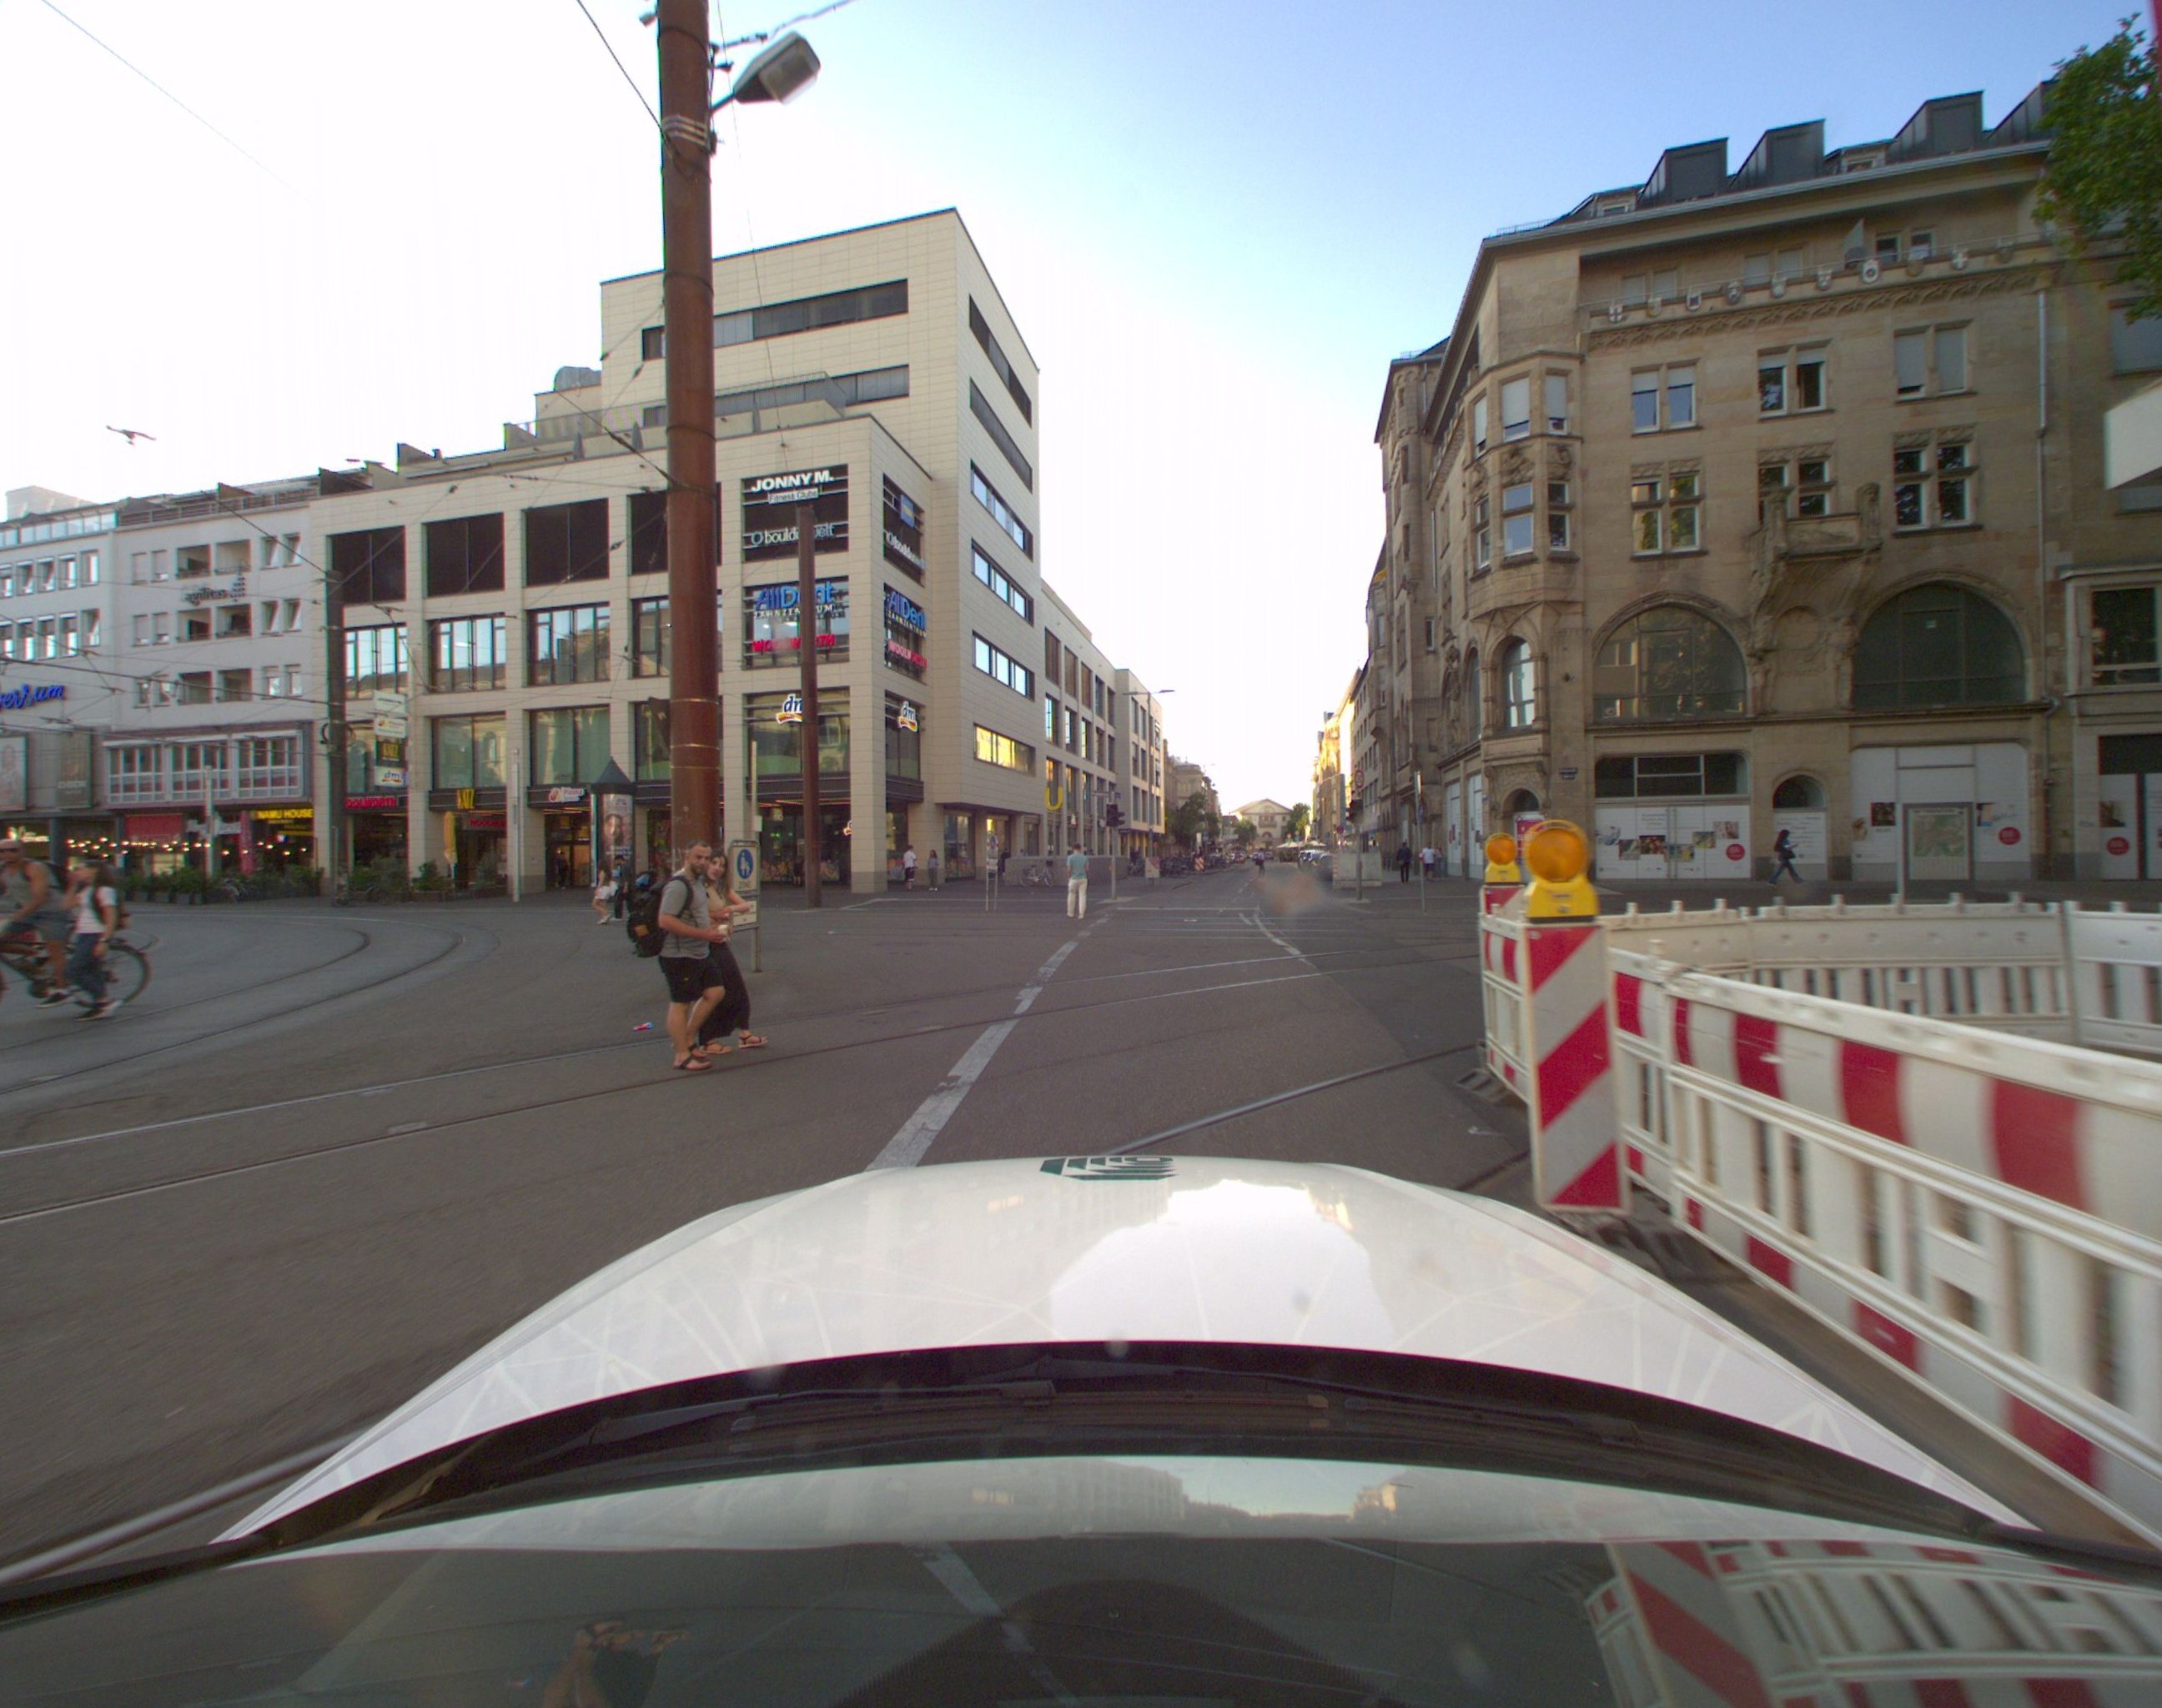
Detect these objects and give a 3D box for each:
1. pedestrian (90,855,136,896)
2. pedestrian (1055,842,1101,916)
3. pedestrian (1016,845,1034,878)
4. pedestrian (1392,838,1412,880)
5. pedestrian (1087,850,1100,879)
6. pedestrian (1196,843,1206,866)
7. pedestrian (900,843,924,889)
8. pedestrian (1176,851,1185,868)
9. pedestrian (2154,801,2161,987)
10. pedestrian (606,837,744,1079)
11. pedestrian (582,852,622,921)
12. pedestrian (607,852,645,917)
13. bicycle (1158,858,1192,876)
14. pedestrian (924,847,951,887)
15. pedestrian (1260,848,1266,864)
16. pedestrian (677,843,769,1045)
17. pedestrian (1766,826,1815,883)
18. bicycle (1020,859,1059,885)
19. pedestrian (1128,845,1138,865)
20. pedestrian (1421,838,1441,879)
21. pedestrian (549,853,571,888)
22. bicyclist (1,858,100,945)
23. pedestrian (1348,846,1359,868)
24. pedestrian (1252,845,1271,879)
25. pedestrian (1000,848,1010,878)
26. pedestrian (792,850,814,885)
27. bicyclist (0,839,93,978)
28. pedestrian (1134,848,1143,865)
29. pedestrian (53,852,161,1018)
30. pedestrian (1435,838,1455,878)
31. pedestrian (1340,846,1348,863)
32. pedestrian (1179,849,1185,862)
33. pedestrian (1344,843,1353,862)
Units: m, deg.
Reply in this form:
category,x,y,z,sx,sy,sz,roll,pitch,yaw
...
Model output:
category,x,y,z,sx,sy,sz,roll,pitch,yaw
pedestrian,-39.661,0.873,33.376,0.942,1.636,0.905,-1,-1,17
pedestrian,-0.064,0.599,20.090,0.857,1.761,0.772,0,0,26
pedestrian,-2.971,0.390,43.221,0.777,1.751,0.602,0,0,11
pedestrian,13.198,0.218,33.451,0.621,1.690,0.673,-1,0,12
pedestrian,0.730,0.590,47.162,0.676,1.680,0.602,0,0,11
pedestrian,9.464,0.029,64.216,0.654,1.823,0.528,-1,0,3
pedestrian,-6.894,0.466,33.199,0.567,1.855,0.821,0,0,26
pedestrian,8.827,0.497,72.267,0.746,1.529,0.487,-1,0,13
pedestrian,10.649,0.385,7.477,0.719,1.769,0.671,0,0,0
pedestrian,-3.020,0.732,6.116,0.743,1.700,0.608,-1,0,-9
pedestrian,-11.874,0.789,20.210,0.524,1.674,0.653,-1,0,15
pedestrian,-11.833,0.787,21.194,0.524,1.674,0.653,-1,0,14
bicycle,5.699,0.788,49.228,1.971,1.121,0.555,0,0,-16
pedestrian,-6.023,0.551,34.251,0.759,1.659,0.821,0,0,27
pedestrian,20.866,0.271,93.463,0.594,1.823,0.454,-1,0,13
pedestrian,-2.937,0.711,6.712,0.569,1.593,0.447,-1,0,-9
pedestrian,20.329,0.016,23.357,0.814,1.611,0.716,0,0,13
bicycle,-1.856,0.807,36.313,1.683,1.121,0.453,0,0,16
pedestrian,4.227,0.067,66.190,0.675,1.621,0.575,-1,0,13
pedestrian,14.743,0.192,34.299,0.621,1.690,0.673,-1,0,12
pedestrian,-25.447,0.785,39.795,0.669,1.680,0.577,0,0,14
bicyclist,-17.903,0.811,14.164,0.871,1.465,0.597,0,0,-12
pedestrian,20.701,0.218,61.888,0.639,1.690,0.673,-1,0,12
pedestrian,9.364,0.410,42.273,0.830,1.720,0.683,-1,0,6
pedestrian,-3.980,0.467,42.764,0.387,1.515,0.507,-1,0,12
pedestrian,-12.569,0.605,36.836,0.567,1.526,0.795,0,0,26
bicyclist,-11.091,0.559,8.681,0.418,1.427,0.565,0,0,7
pedestrian,5.566,0.279,79.007,0.726,1.621,0.664,-1,0,13
pedestrian,-10.278,0.821,8.601,0.643,1.674,0.533,-1,0,22
pedestrian,15.496,0.164,34.705,0.621,1.690,0.628,-1,0,12
pedestrian,27.919,0.023,86.488,0.639,1.746,0.673,-1,0,12
pedestrian,12.413,0.168,100.278,0.675,1.621,0.575,-1,0,13
pedestrian,25.761,-0.143,78.433,0.639,1.800,0.673,-1,0,12
